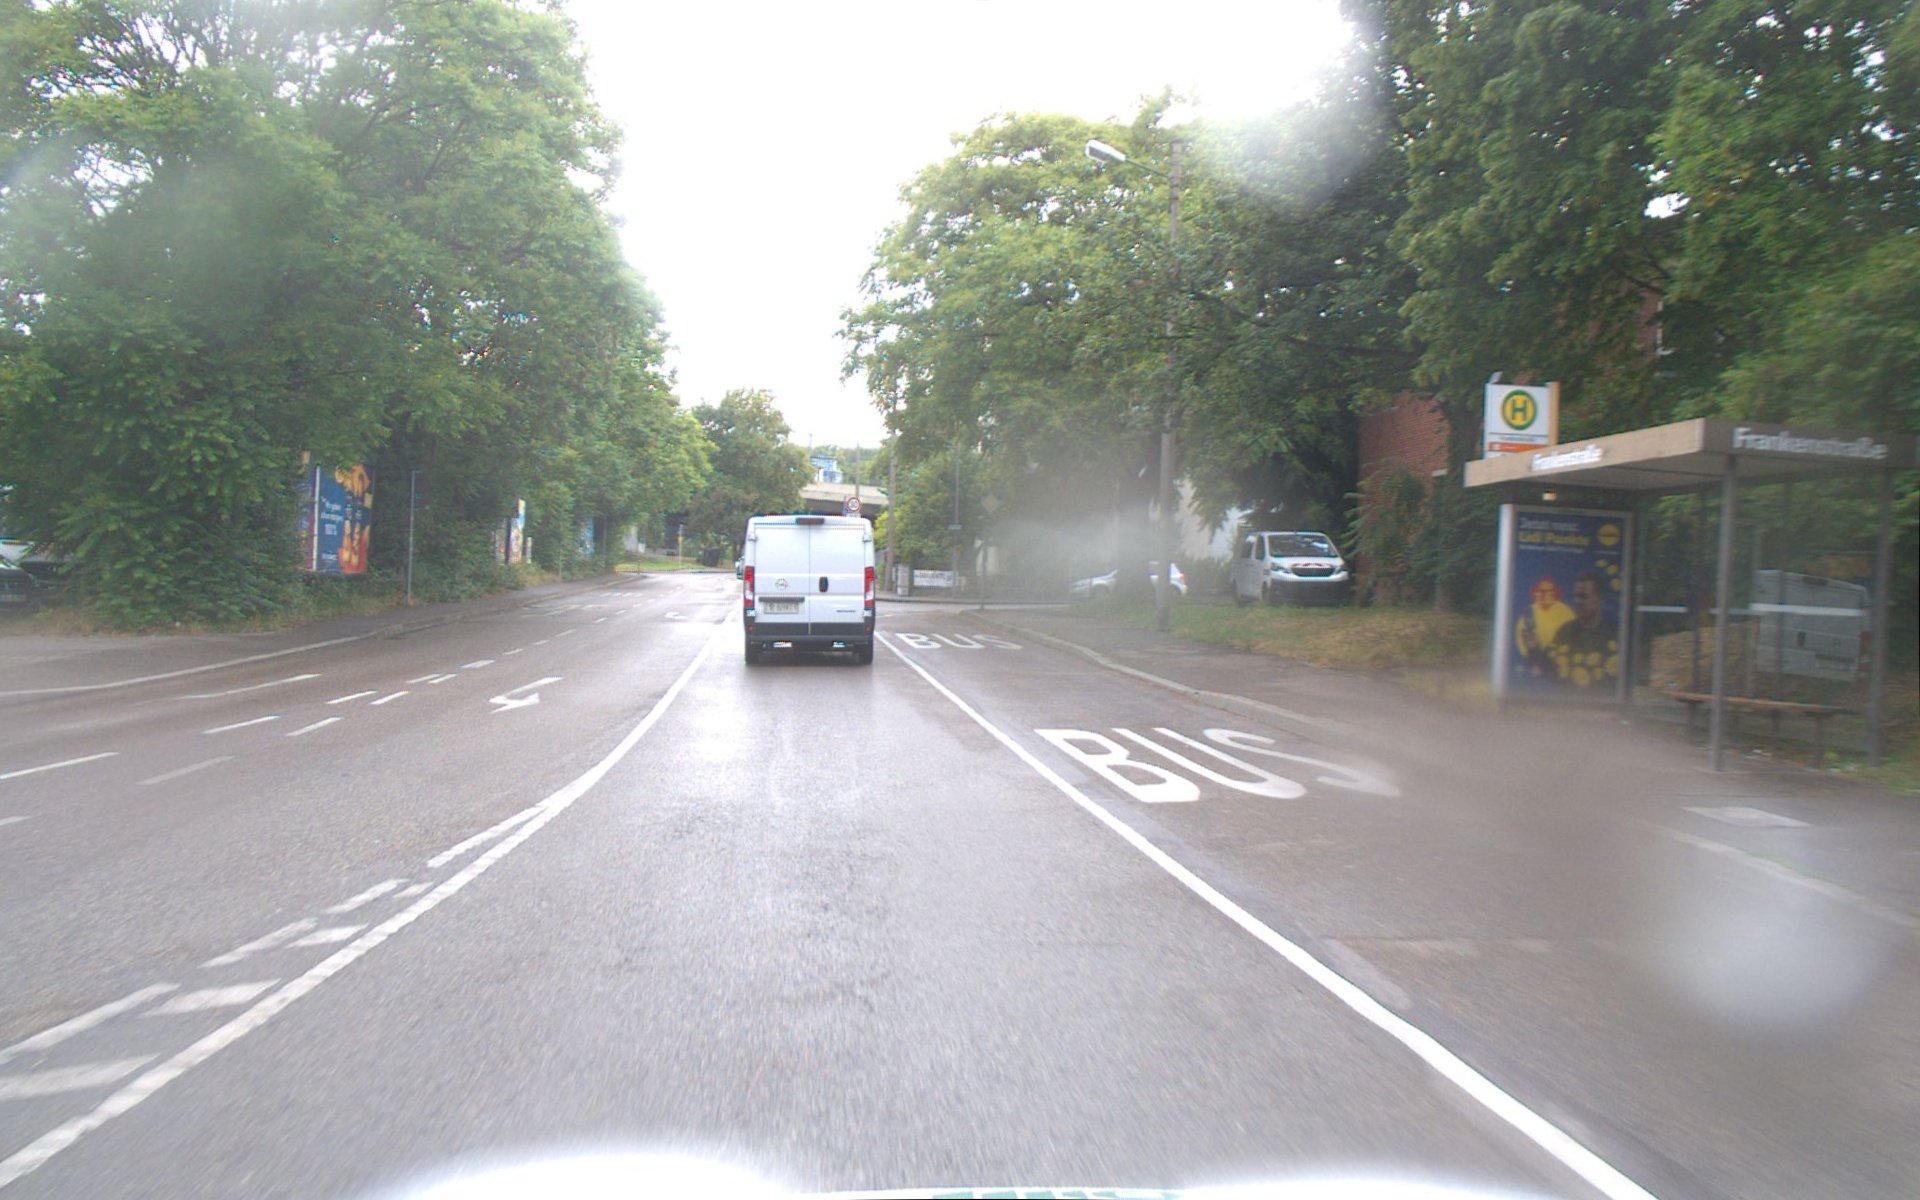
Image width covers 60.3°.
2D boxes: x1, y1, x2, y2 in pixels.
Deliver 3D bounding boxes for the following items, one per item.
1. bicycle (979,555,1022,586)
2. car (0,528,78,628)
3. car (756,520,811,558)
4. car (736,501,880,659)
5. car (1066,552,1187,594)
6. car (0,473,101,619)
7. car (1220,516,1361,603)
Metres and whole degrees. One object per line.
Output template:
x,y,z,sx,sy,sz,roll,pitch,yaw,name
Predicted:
1.492,-1.093,60.896,1.539,1.134,0.457,0,2,-3,bicycle
-17.225,-0.463,27.822,4.028,1.569,2.001,4,2,20,car
-15.076,-5.169,141.839,2.480,3.070,7.217,2,2,12,car
-2.473,-0.330,27.008,2.104,2.323,5.057,0,1,-5,car
5.766,-0.927,57.552,3.914,1.447,1.700,0,0,-10,car
-18.348,-1.128,32.231,2.089,2.576,5.538,2,2,-35,car
7.770,-0.980,39.387,1.954,1.836,5.144,3,2,-4,car
